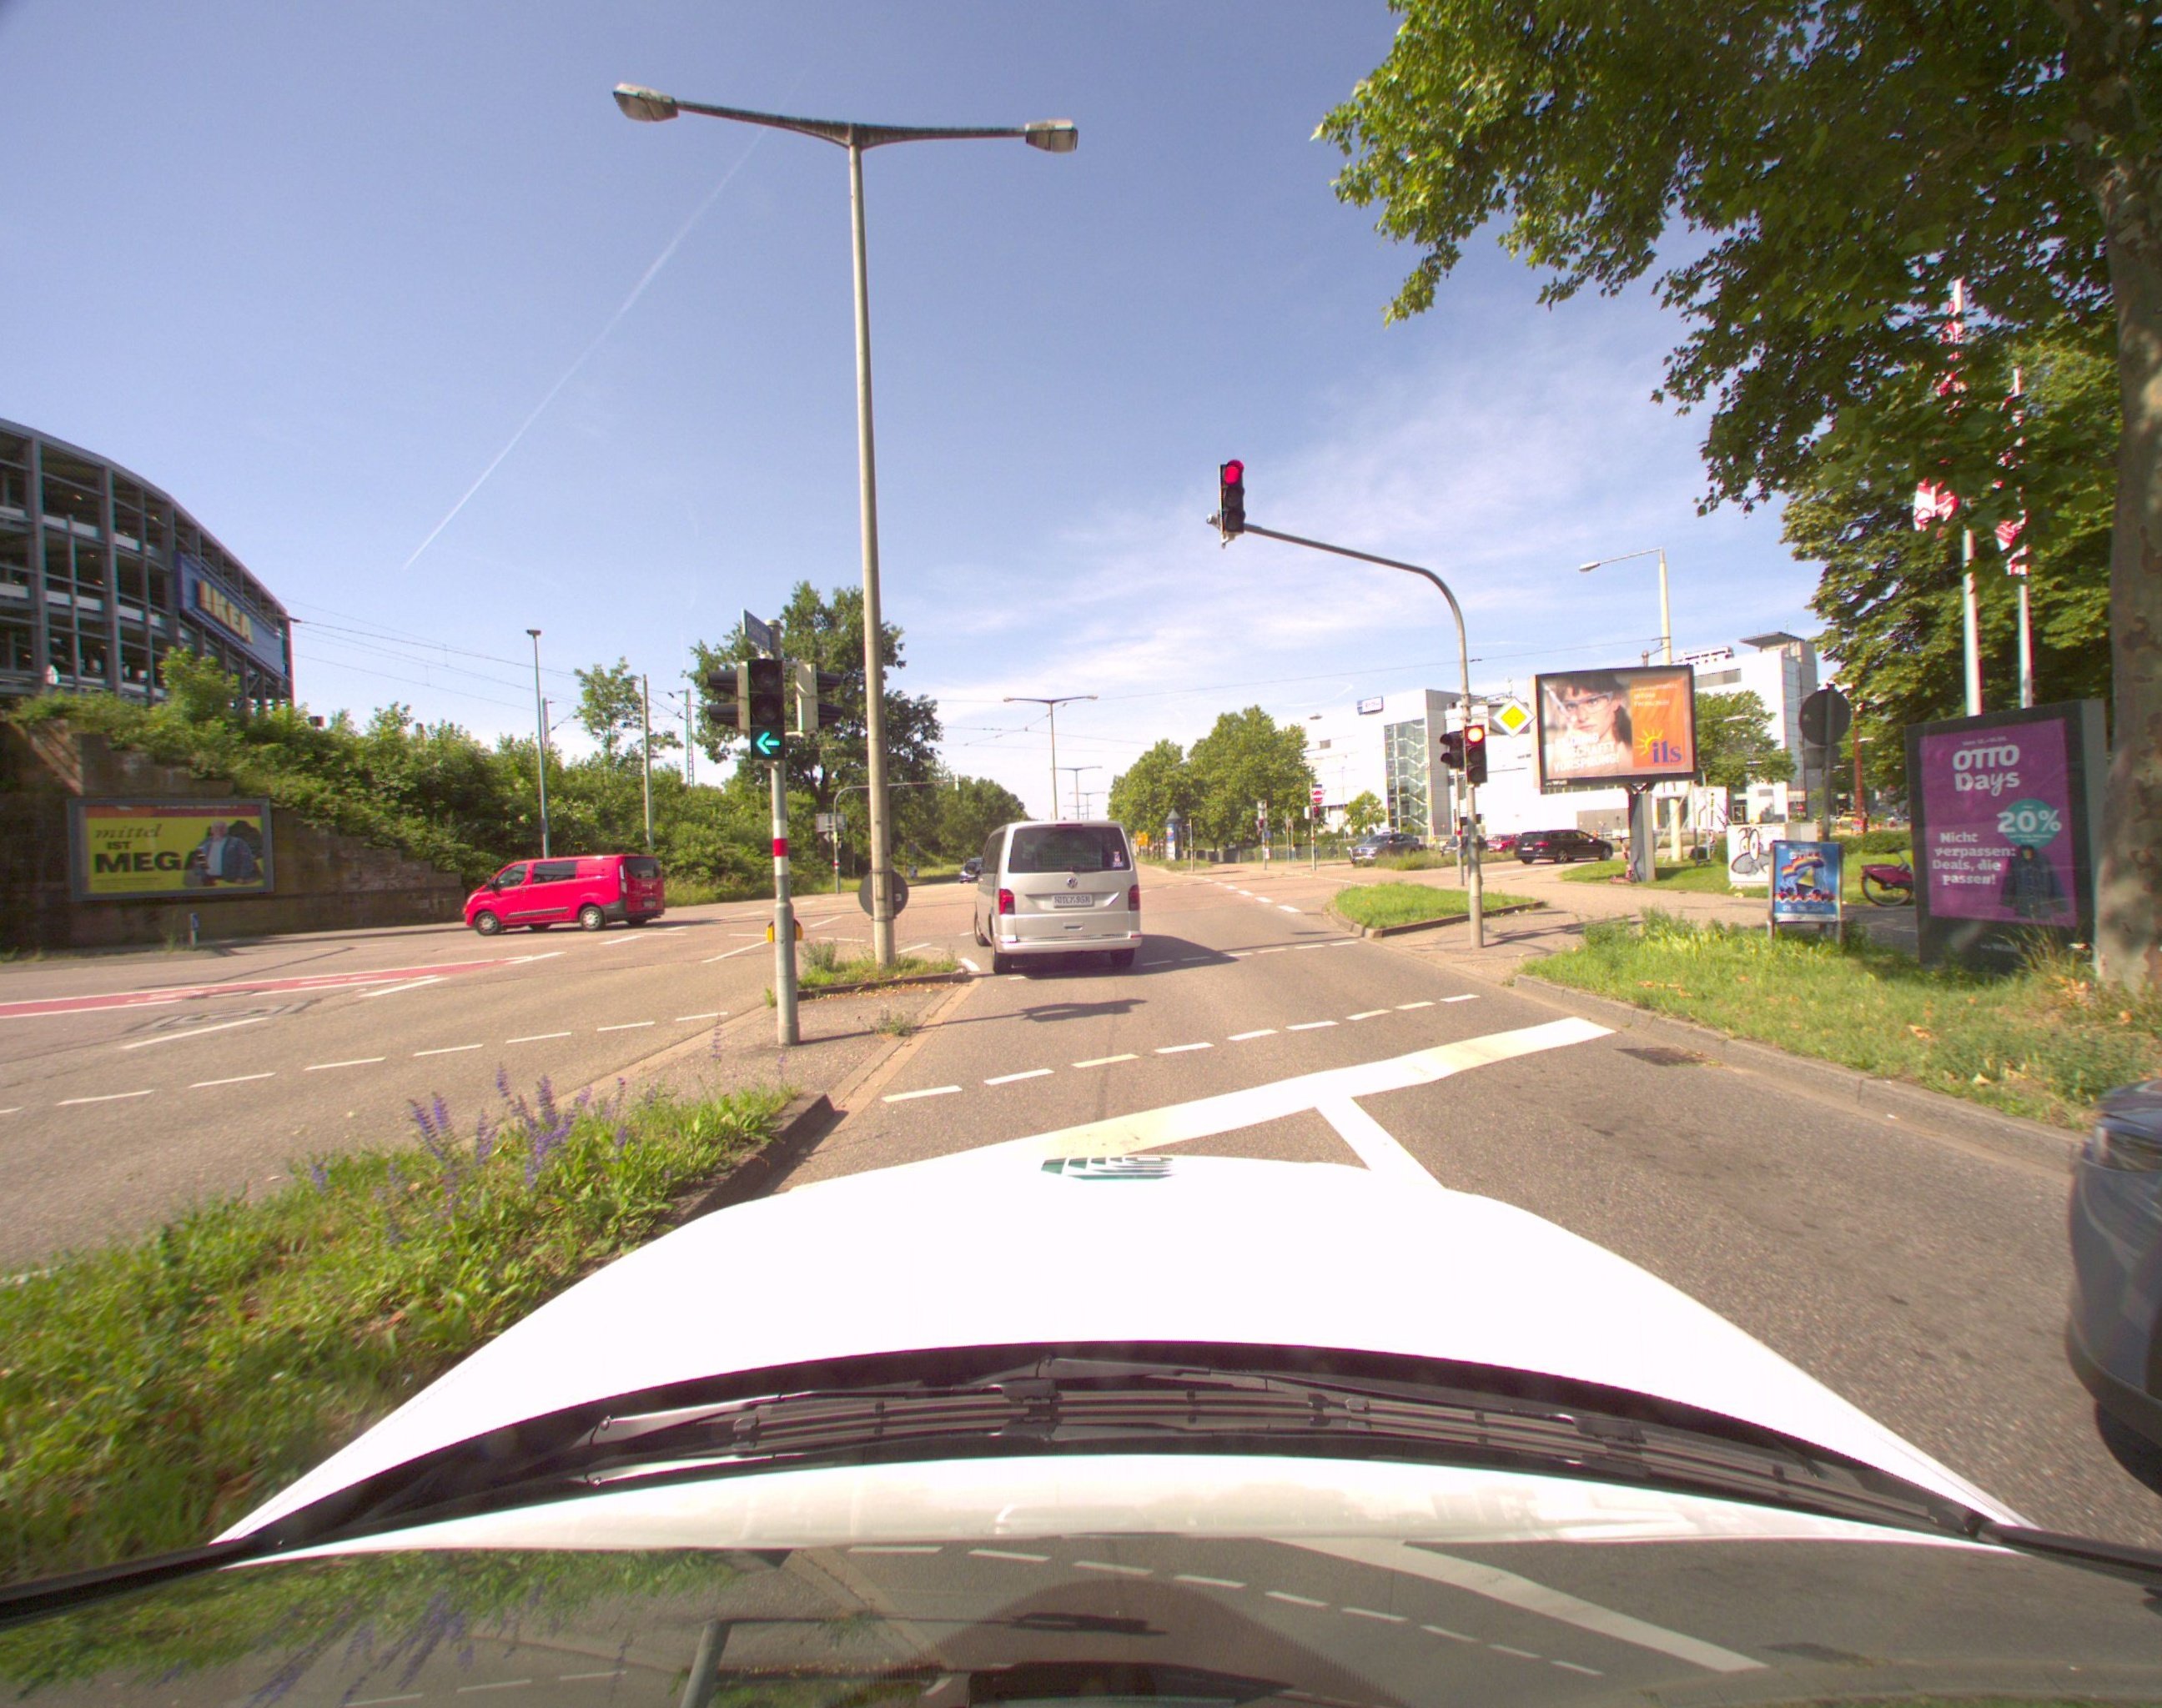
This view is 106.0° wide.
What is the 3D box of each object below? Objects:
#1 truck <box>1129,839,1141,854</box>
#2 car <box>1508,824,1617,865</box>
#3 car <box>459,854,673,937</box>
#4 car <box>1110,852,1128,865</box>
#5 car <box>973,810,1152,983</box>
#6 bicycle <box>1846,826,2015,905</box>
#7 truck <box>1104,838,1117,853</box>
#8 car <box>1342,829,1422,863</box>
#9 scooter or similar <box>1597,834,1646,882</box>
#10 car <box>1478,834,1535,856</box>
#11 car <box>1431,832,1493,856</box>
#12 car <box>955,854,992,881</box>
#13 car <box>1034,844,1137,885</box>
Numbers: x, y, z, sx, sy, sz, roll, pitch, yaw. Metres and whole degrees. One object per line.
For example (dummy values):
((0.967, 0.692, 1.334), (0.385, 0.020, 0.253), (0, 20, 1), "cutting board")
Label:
((16.267, -2.257, 245.808), (3.176, 4.355, 13.165), (-3, 0, 5), "truck")
((20.544, -0.424, 34.728), (4.402, 1.510, 1.836), (-3, 0, -25), "car")
((-13.746, 1.083, 21.888), (4.522, 1.924, 1.978), (-3, 0, 6), "car")
((3.842, 0.419, 82.446), (1.638, 1.236, 3.251), (-3, 0, -1), "car")
((-0.526, 0.500, 12.144), (1.941, 1.971, 5.006), (-2, 0, -9), "car")
((13.420, 0.188, 12.920), (1.771, 1.108, 0.506), (-4, -1, 20), "bicycle")
((7.456, -2.080, 204.684), (2.828, 3.577, 8.731), (-3, 0, 5), "truck")
((17.134, -0.453, 46.333), (4.646, 1.688, 1.895), (-3, 0, -35), "car")
((13.307, 0.095, 20.058), (0.423, 1.126, 1.124), (-3, 0, 1), "scooter or similar")
((31.049, -0.666, 59.378), (4.646, 1.443, 1.762), (-3, 0, -35), "car")
((26.336, -0.711, 56.210), (4.646, 1.443, 1.762), (-3, 0, -35), "car")
((-6.951, 0.845, 52.914), (1.844, 1.561, 3.999), (-3, 0, -1), "car")
((0.156, 0.495, 36.042), (4.321, 1.605, 1.826), (-3, 0, 40), "car")
